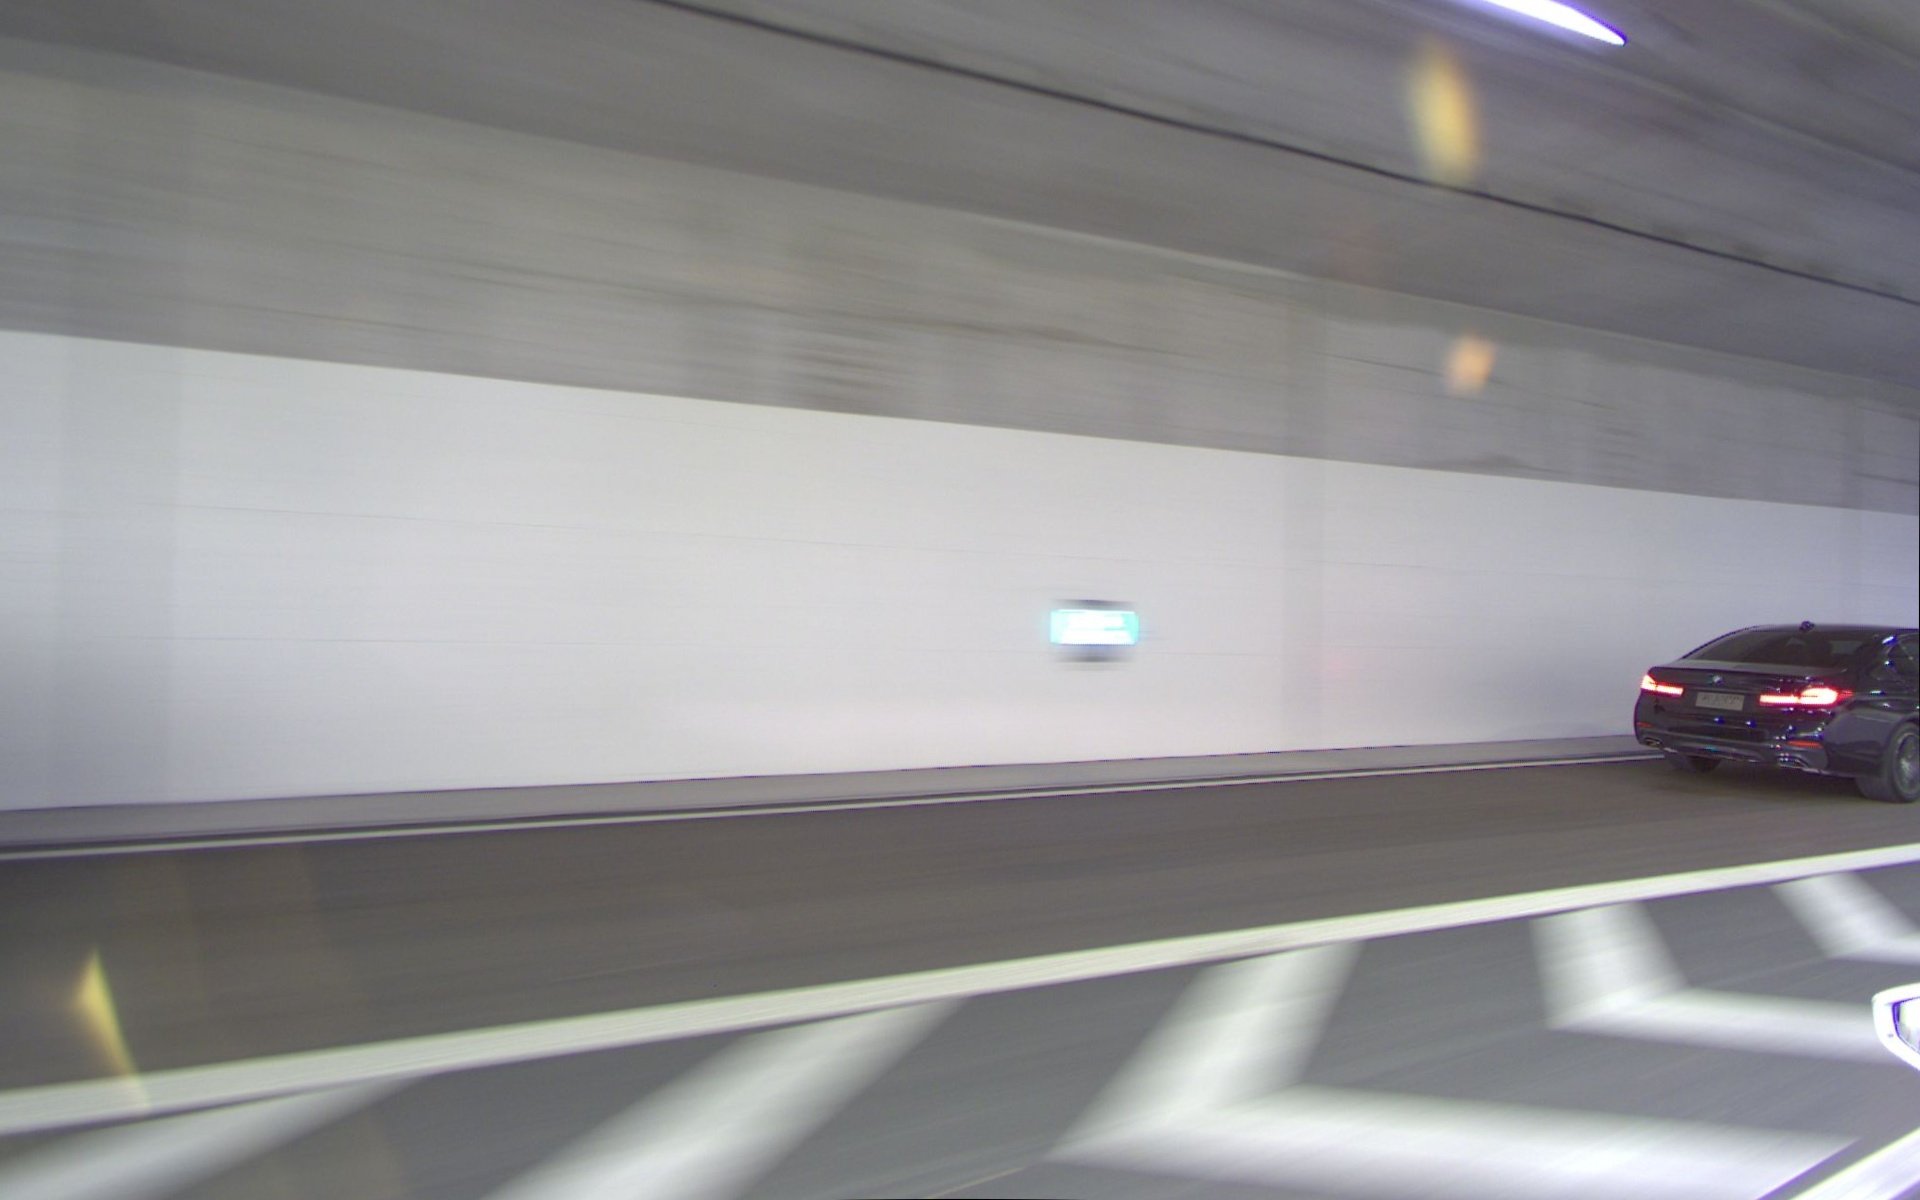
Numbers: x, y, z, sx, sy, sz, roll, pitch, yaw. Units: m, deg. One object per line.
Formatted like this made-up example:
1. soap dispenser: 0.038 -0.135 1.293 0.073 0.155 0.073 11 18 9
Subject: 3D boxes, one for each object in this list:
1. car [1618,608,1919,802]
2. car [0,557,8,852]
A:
1. car: 8.676 0.875 9.502 4.782 1.442 1.692 1 1 -23
2. car: -6.030 0.463 3.305 3.822 1.420 1.652 1 0 -24
